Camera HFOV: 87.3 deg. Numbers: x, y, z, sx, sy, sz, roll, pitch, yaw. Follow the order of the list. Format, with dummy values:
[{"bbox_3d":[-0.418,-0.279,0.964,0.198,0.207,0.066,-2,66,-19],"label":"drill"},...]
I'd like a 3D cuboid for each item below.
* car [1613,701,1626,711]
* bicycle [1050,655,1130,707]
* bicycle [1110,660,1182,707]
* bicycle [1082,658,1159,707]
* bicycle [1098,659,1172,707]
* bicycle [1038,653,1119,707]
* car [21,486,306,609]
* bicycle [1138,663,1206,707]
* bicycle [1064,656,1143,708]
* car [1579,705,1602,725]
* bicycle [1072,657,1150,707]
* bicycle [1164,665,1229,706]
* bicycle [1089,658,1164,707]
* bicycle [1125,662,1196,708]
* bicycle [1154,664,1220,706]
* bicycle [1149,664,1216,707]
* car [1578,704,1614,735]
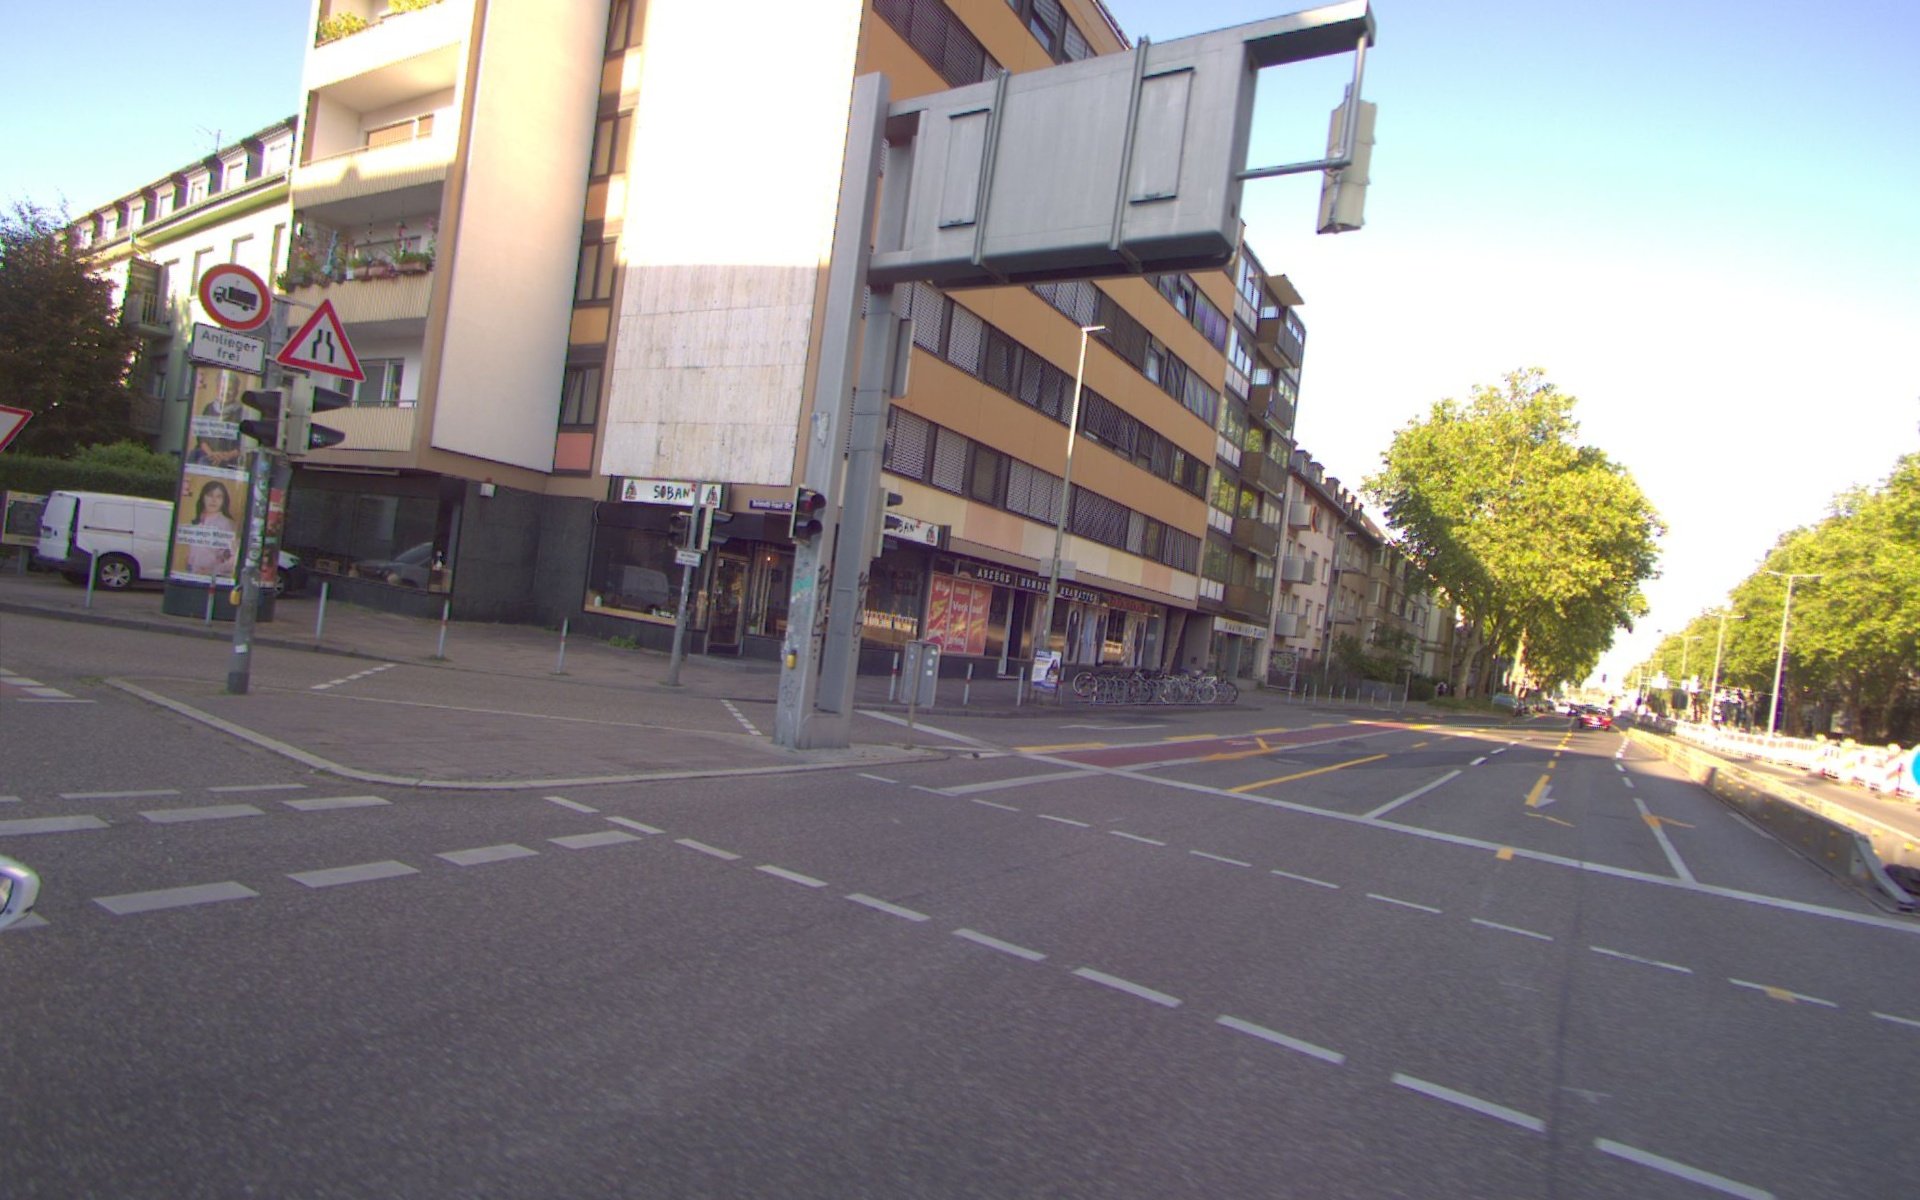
[{"bbox_3d":[127.827,20.501,194.971,1.741,1.726,3.994,7,-1,31],"label":"car"},{"bbox_3d":[3.450,2.148,26.783,1.975,1.110,0.527,7,0,34],"label":"bicycle"},{"bbox_3d":[5.643,2.526,30.568,1.972,1.110,0.527,7,0,27],"label":"bicycle"},{"bbox_3d":[4.562,2.337,28.567,1.972,1.110,0.527,7,0,27],"label":"bicycle"},{"bbox_3d":[5.151,2.441,29.705,1.973,1.110,0.527,7,0,29],"label":"bicycle"},{"bbox_3d":[3.075,2.084,26.199,1.975,1.110,0.527,7,0,34],"label":"bicycle"},{"bbox_3d":[-16.186,-1.002,20.657,1.831,1.835,4.093,7,-1,33],"label":"car"},{"bbox_3d":[6.805,2.722,32.346,1.972,1.110,0.527,7,0,27],"label":"bicycle"},{"bbox_3d":[3.914,2.227,27.529,1.972,1.110,0.527,7,0,27],"label":"bicycle"},{"bbox_3d":[63.014,11.455,100.562,1.741,1.726,3.994,7,-1,31],"label":"car"},{"bbox_3d":[4.210,2.278,28.070,1.972,1.110,0.527,7,0,27],"label":"bicycle"},{"bbox_3d":[8.171,2.959,34.789,1.972,1.110,0.527,7,0,27],"label":"bicycle"},{"bbox_3d":[4.829,2.386,29.178,1.973,1.110,0.527,7,0,29],"label":"bicycle"},{"bbox_3d":[6.183,2.611,31.069,1.972,1.110,0.527,7,0,27],"label":"bicycle"},{"bbox_3d":[7.608,2.862,33.807,1.972,1.110,0.527,7,0,27],"label":"bicycle"},{"bbox_3d":[7.340,2.813,33.186,1.972,1.110,0.527,7,0,27],"label":"bicycle"},{"bbox_3d":[42.776,8.008,67.700,1.741,1.726,3.994,7,-1,31],"label":"car"}]
